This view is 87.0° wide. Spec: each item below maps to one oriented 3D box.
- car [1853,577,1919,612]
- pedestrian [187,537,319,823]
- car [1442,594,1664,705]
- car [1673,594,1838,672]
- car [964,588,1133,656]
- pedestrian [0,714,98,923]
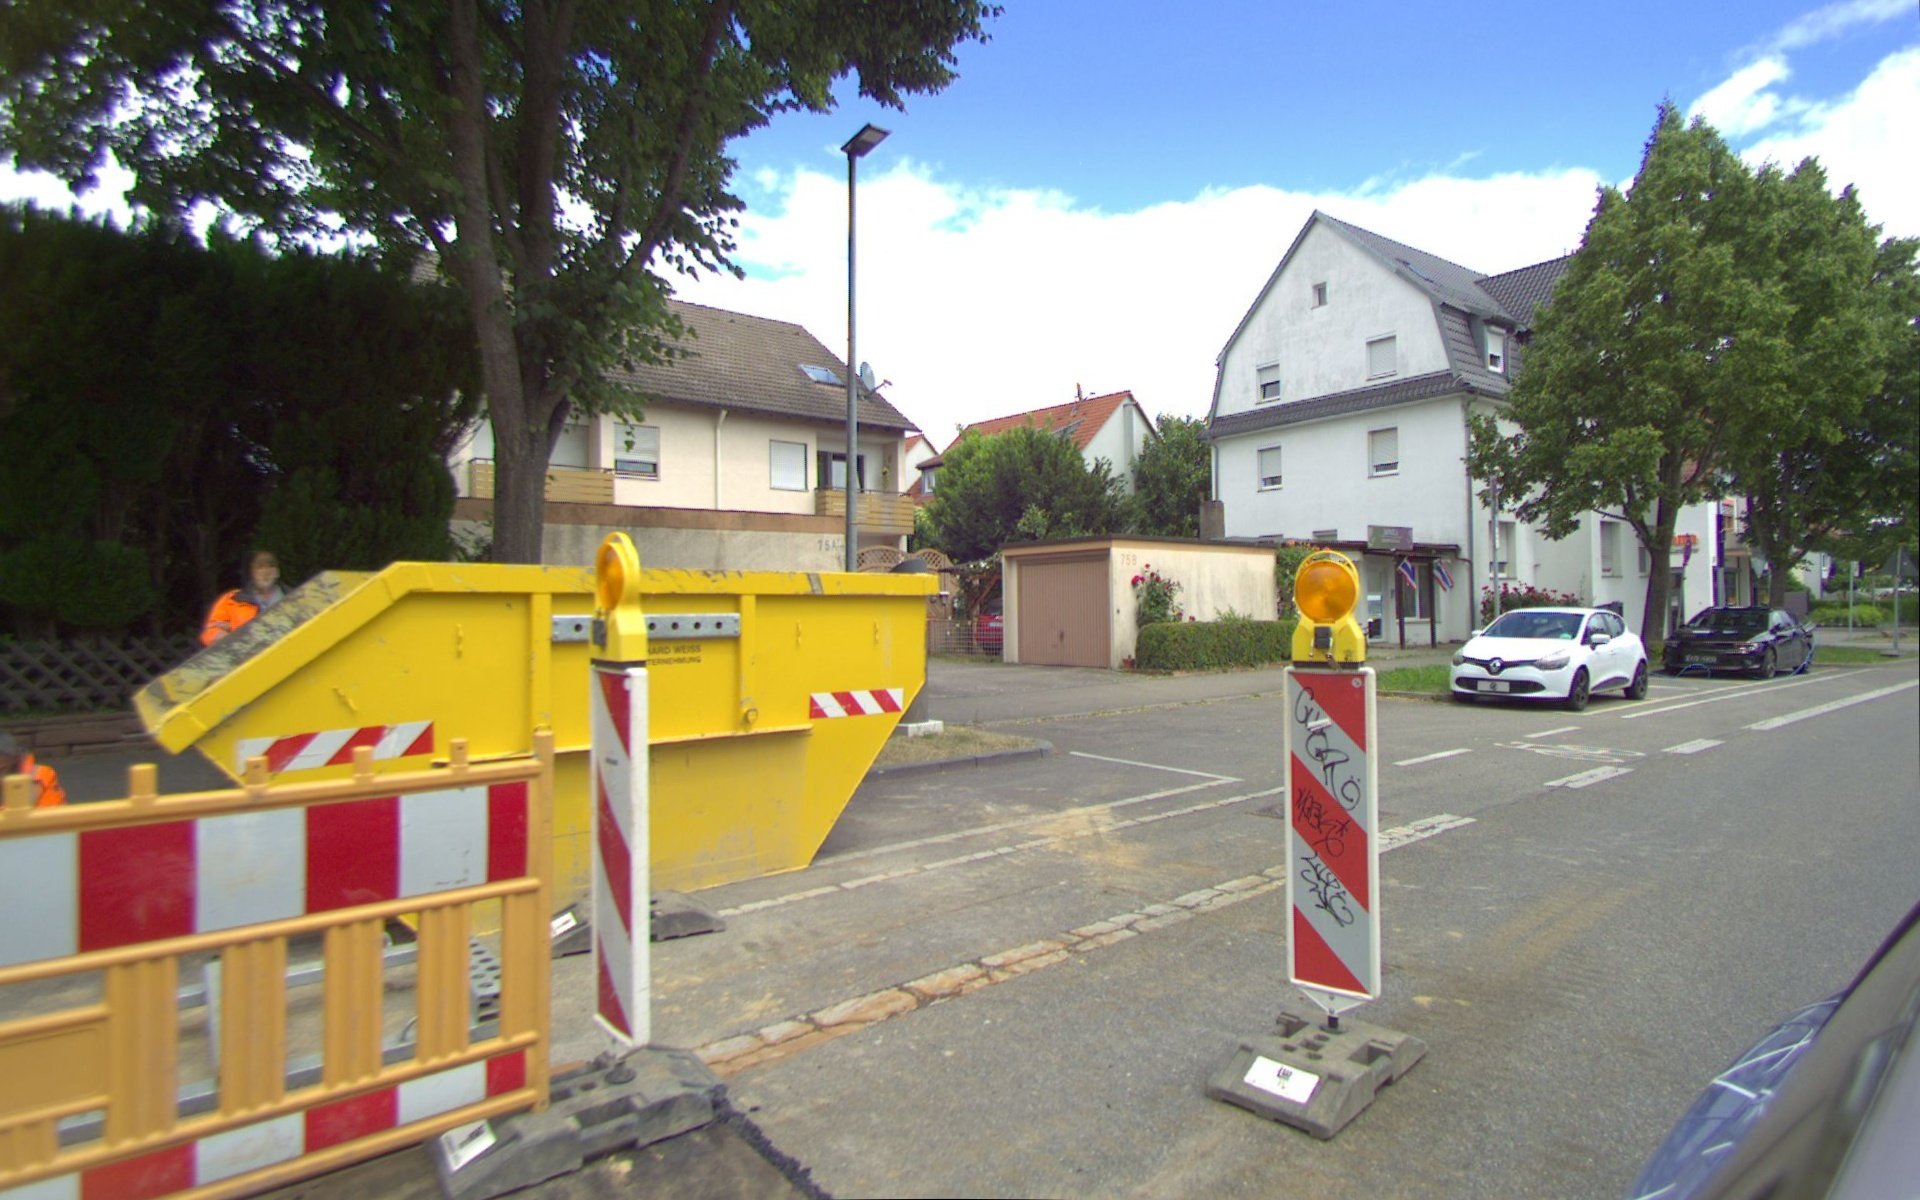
[{"bbox_3d":[71.608,-0.388,76.666,1.962,2.625,5.723,1,-1,-40],"label":"car"},{"bbox_3d":[-4.427,0.462,6.330,0.632,1.655,0.705,0,-1,-39],"label":"pedestrian"},{"bbox_3d":[9.120,0.660,15.456,3.928,1.481,1.676,0,0,-39],"label":"car"},{"bbox_3d":[16.866,0.622,21.386,4.532,1.473,1.710,0,0,-38],"label":"car"},{"bbox_3d":[2.130,0.464,23.812,3.928,1.481,1.676,0,0,-39],"label":"car"},{"bbox_3d":[-4.631,1.039,4.885,0.663,0.870,0.712,0,-1,-45],"label":"pedestrian"}]
